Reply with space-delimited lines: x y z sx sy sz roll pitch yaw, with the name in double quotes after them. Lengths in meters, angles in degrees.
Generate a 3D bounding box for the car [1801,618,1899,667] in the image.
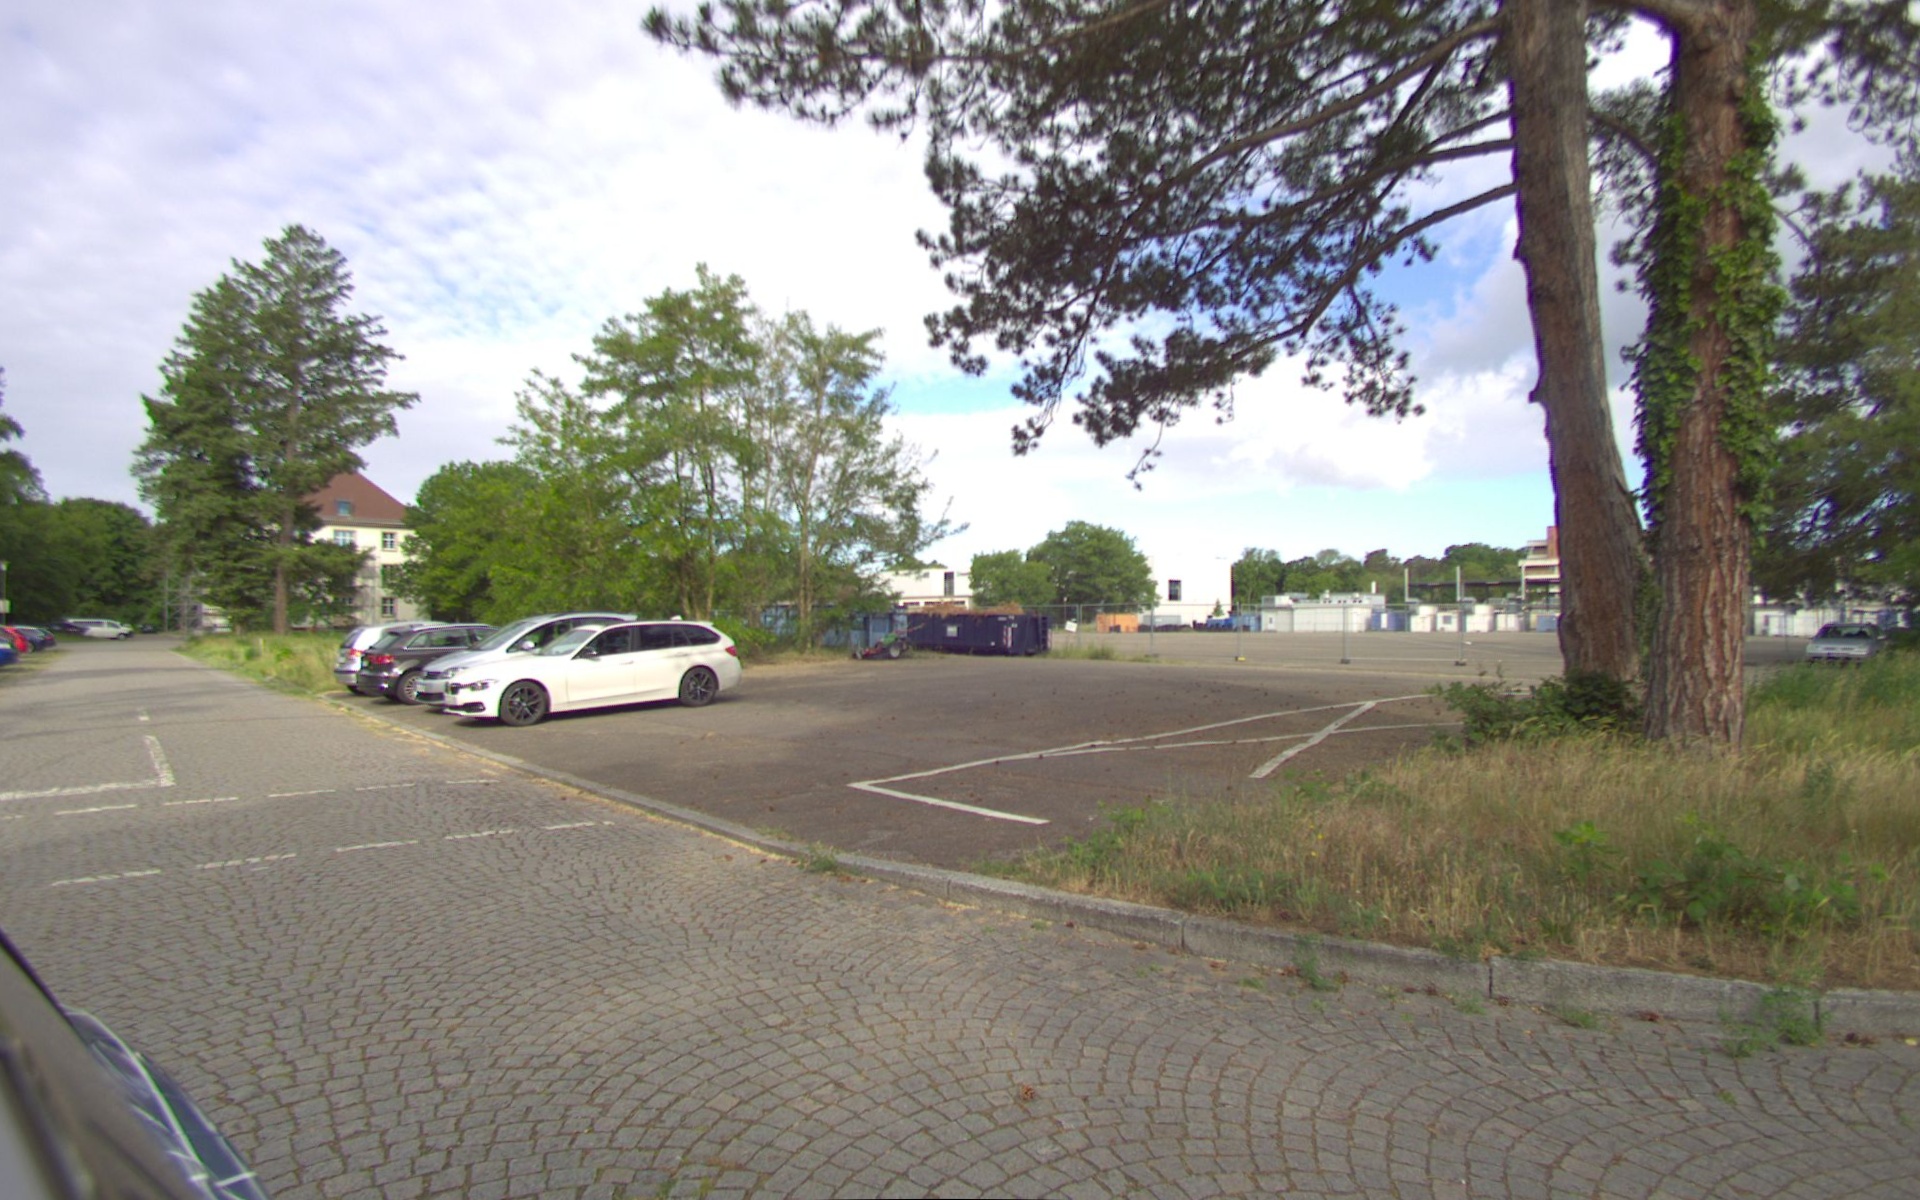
28.564 1.316 32.443 4.303 1.488 1.927 1 -2 -43 "car"

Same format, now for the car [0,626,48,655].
-52.646 2.196 55.495 3.733 1.581 2.004 1 -2 -38 "car"

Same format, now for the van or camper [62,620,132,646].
-84.320 3.231 98.892 5.171 2.482 2.212 1 -2 -42 "van or camper"

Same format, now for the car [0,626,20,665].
-39.556 1.794 39.538 3.935 1.516 1.873 1 -2 -38 "car"

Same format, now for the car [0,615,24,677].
-33.723 1.498 32.758 4.765 2.029 2.005 1 -2 -36 "car"

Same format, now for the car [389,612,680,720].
-7.484 1.076 18.098 4.421 1.602 1.849 -1 0 -44 "car"

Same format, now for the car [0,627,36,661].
-46.086 2.064 47.516 3.939 1.581 2.002 1 -2 -43 "car"

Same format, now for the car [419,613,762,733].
-5.748 1.043 16.145 4.748 1.450 1.916 -2 0 -43 "car"

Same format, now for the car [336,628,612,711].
-9.458 1.275 19.957 4.564 1.433 1.887 1 -2 -43 "car"

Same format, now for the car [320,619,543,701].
-11.337 1.220 21.874 3.928 1.467 1.682 -2 0 -45 "car"

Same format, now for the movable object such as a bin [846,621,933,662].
-2.153 1.255 31.120 2.499 1.221 1.172 1 -2 -41 "movable object such as a bin"

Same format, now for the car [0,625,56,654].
-55.364 2.278 59.073 3.733 1.637 2.004 1 -2 -38 "car"
